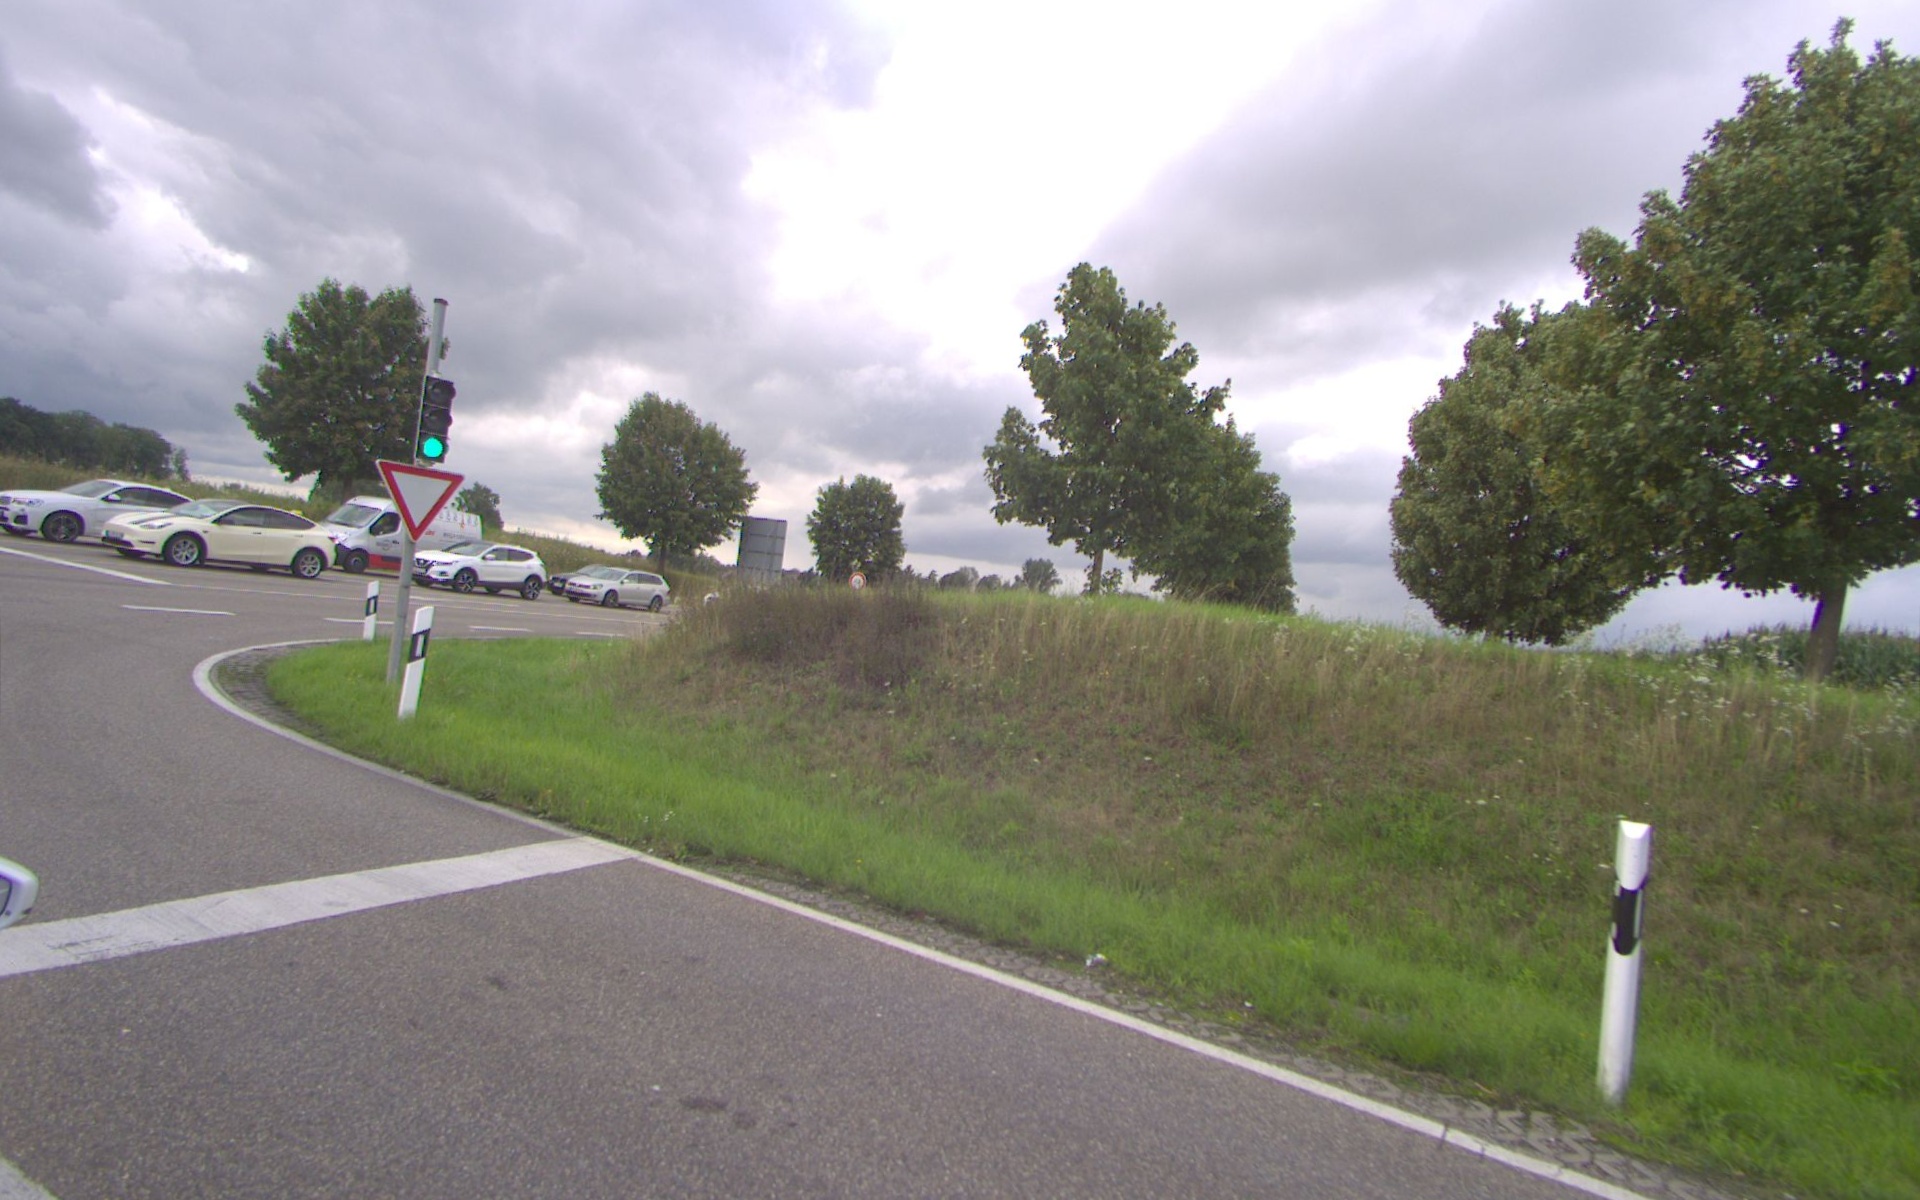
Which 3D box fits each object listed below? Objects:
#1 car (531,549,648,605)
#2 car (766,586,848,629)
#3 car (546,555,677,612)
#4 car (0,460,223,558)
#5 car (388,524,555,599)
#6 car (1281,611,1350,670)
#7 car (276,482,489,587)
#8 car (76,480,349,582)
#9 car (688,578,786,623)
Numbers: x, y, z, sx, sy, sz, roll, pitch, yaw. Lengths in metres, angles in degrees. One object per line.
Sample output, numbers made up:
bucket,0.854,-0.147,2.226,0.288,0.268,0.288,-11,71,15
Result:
car,-14.757,-0.880,40.370,1.963,1.648,4.277,7,-1,20
car,-7.538,0.420,50.081,1.963,1.611,4.449,8,-1,20
car,-12.657,-0.560,36.920,1.963,1.472,4.583,8,-1,20
car,-20.948,-2.182,24.551,1.963,1.648,4.277,7,-1,20
car,-14.857,-1.120,30.862,1.963,1.648,4.325,7,-1,20
car,14.261,1.678,40.580,1.962,2.037,4.004,6,-2,13
car,-18.416,-2.011,32.488,2.354,2.470,5.515,7,-1,21
car,-17.260,-1.518,23.575,1.963,1.583,4.751,7,-1,20
car,-9.744,0.052,44.311,1.963,1.435,4.448,8,-1,21
